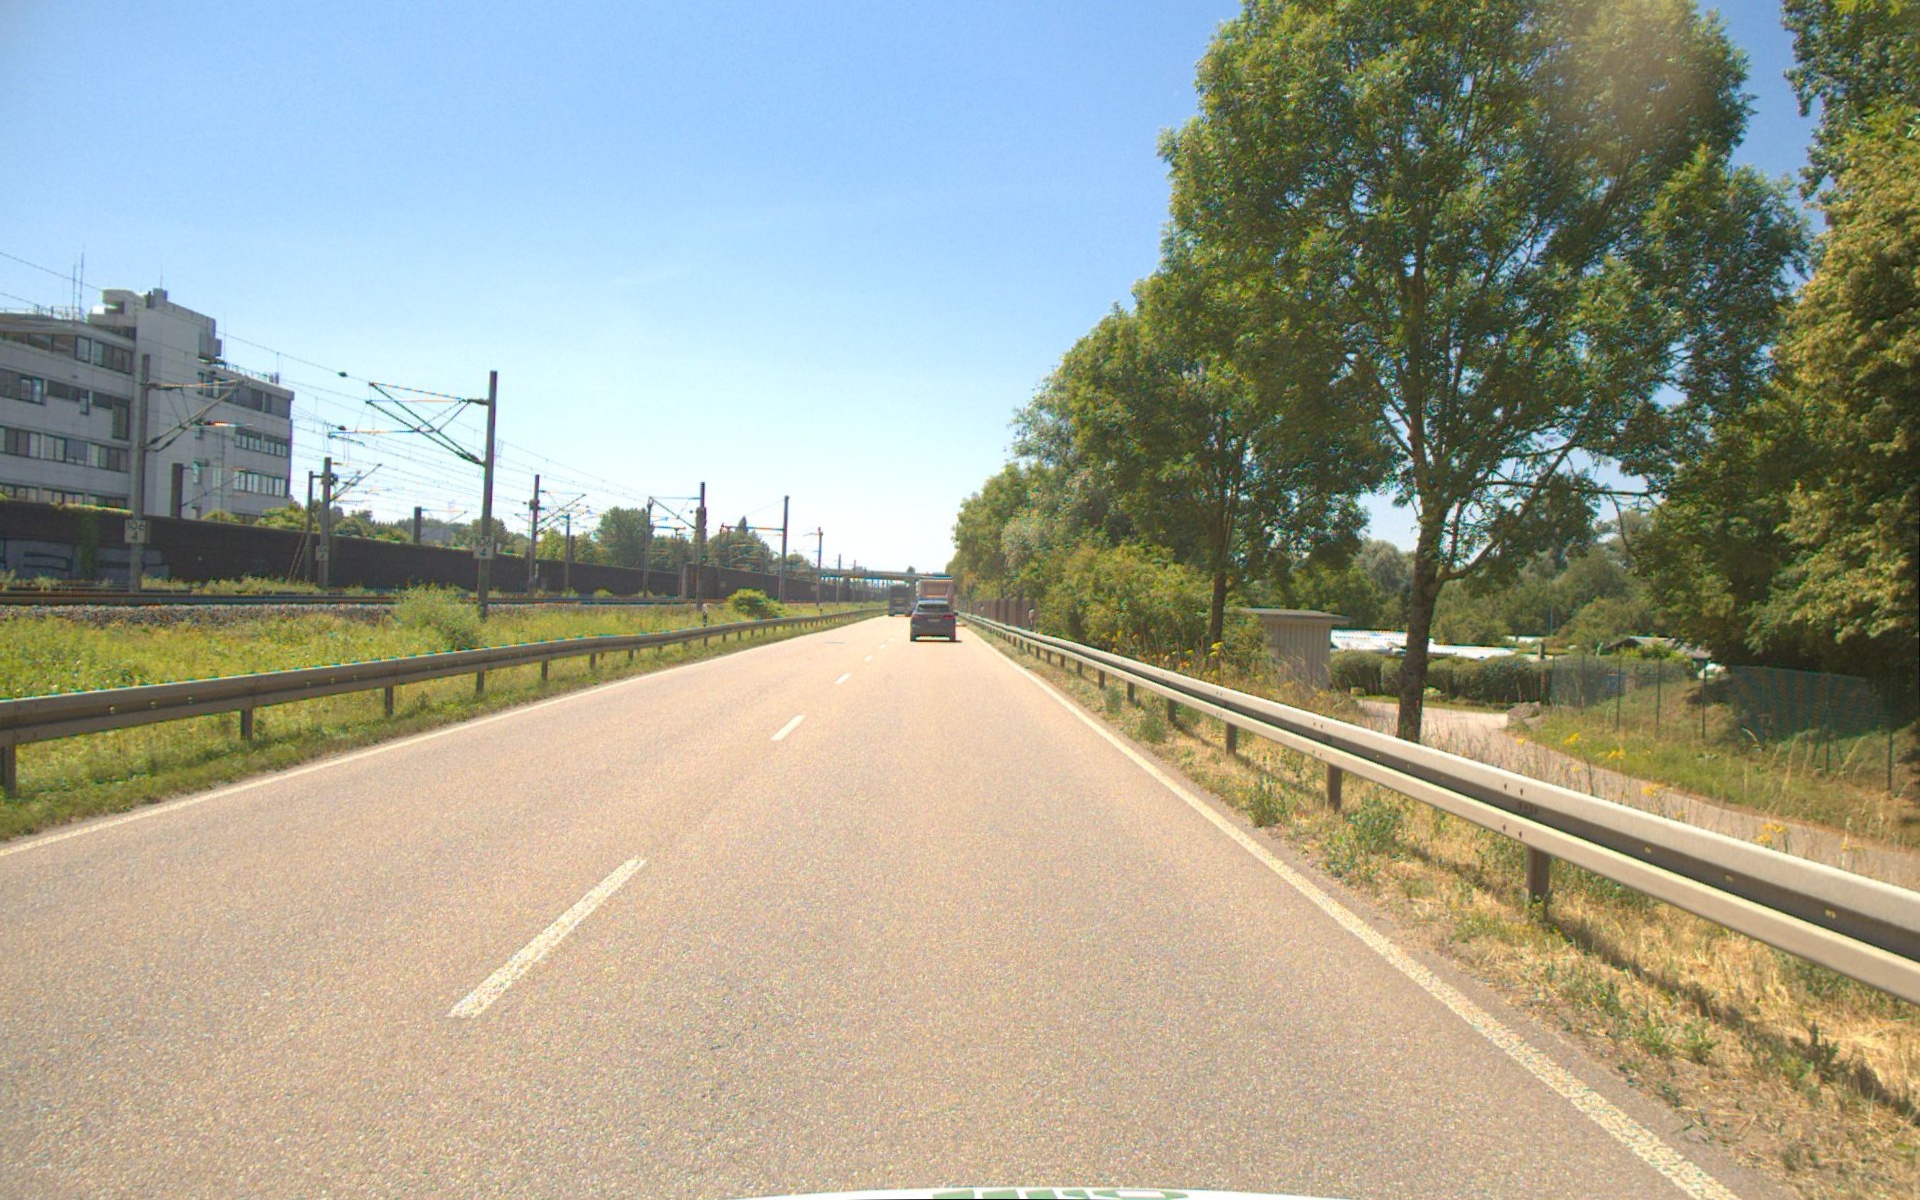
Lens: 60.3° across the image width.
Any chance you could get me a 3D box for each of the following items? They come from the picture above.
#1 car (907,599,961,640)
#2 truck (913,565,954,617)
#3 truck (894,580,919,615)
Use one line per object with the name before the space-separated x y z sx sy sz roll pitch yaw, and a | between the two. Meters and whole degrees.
car | -1.032 0.746 64.827 1.954 1.534 3.998 1 0 -3
truck | -1.900 -0.592 117.824 2.714 3.485 10.817 1 0 -1
truck | -5.956 -0.274 185.020 2.604 3.690 10.973 1 0 -2
